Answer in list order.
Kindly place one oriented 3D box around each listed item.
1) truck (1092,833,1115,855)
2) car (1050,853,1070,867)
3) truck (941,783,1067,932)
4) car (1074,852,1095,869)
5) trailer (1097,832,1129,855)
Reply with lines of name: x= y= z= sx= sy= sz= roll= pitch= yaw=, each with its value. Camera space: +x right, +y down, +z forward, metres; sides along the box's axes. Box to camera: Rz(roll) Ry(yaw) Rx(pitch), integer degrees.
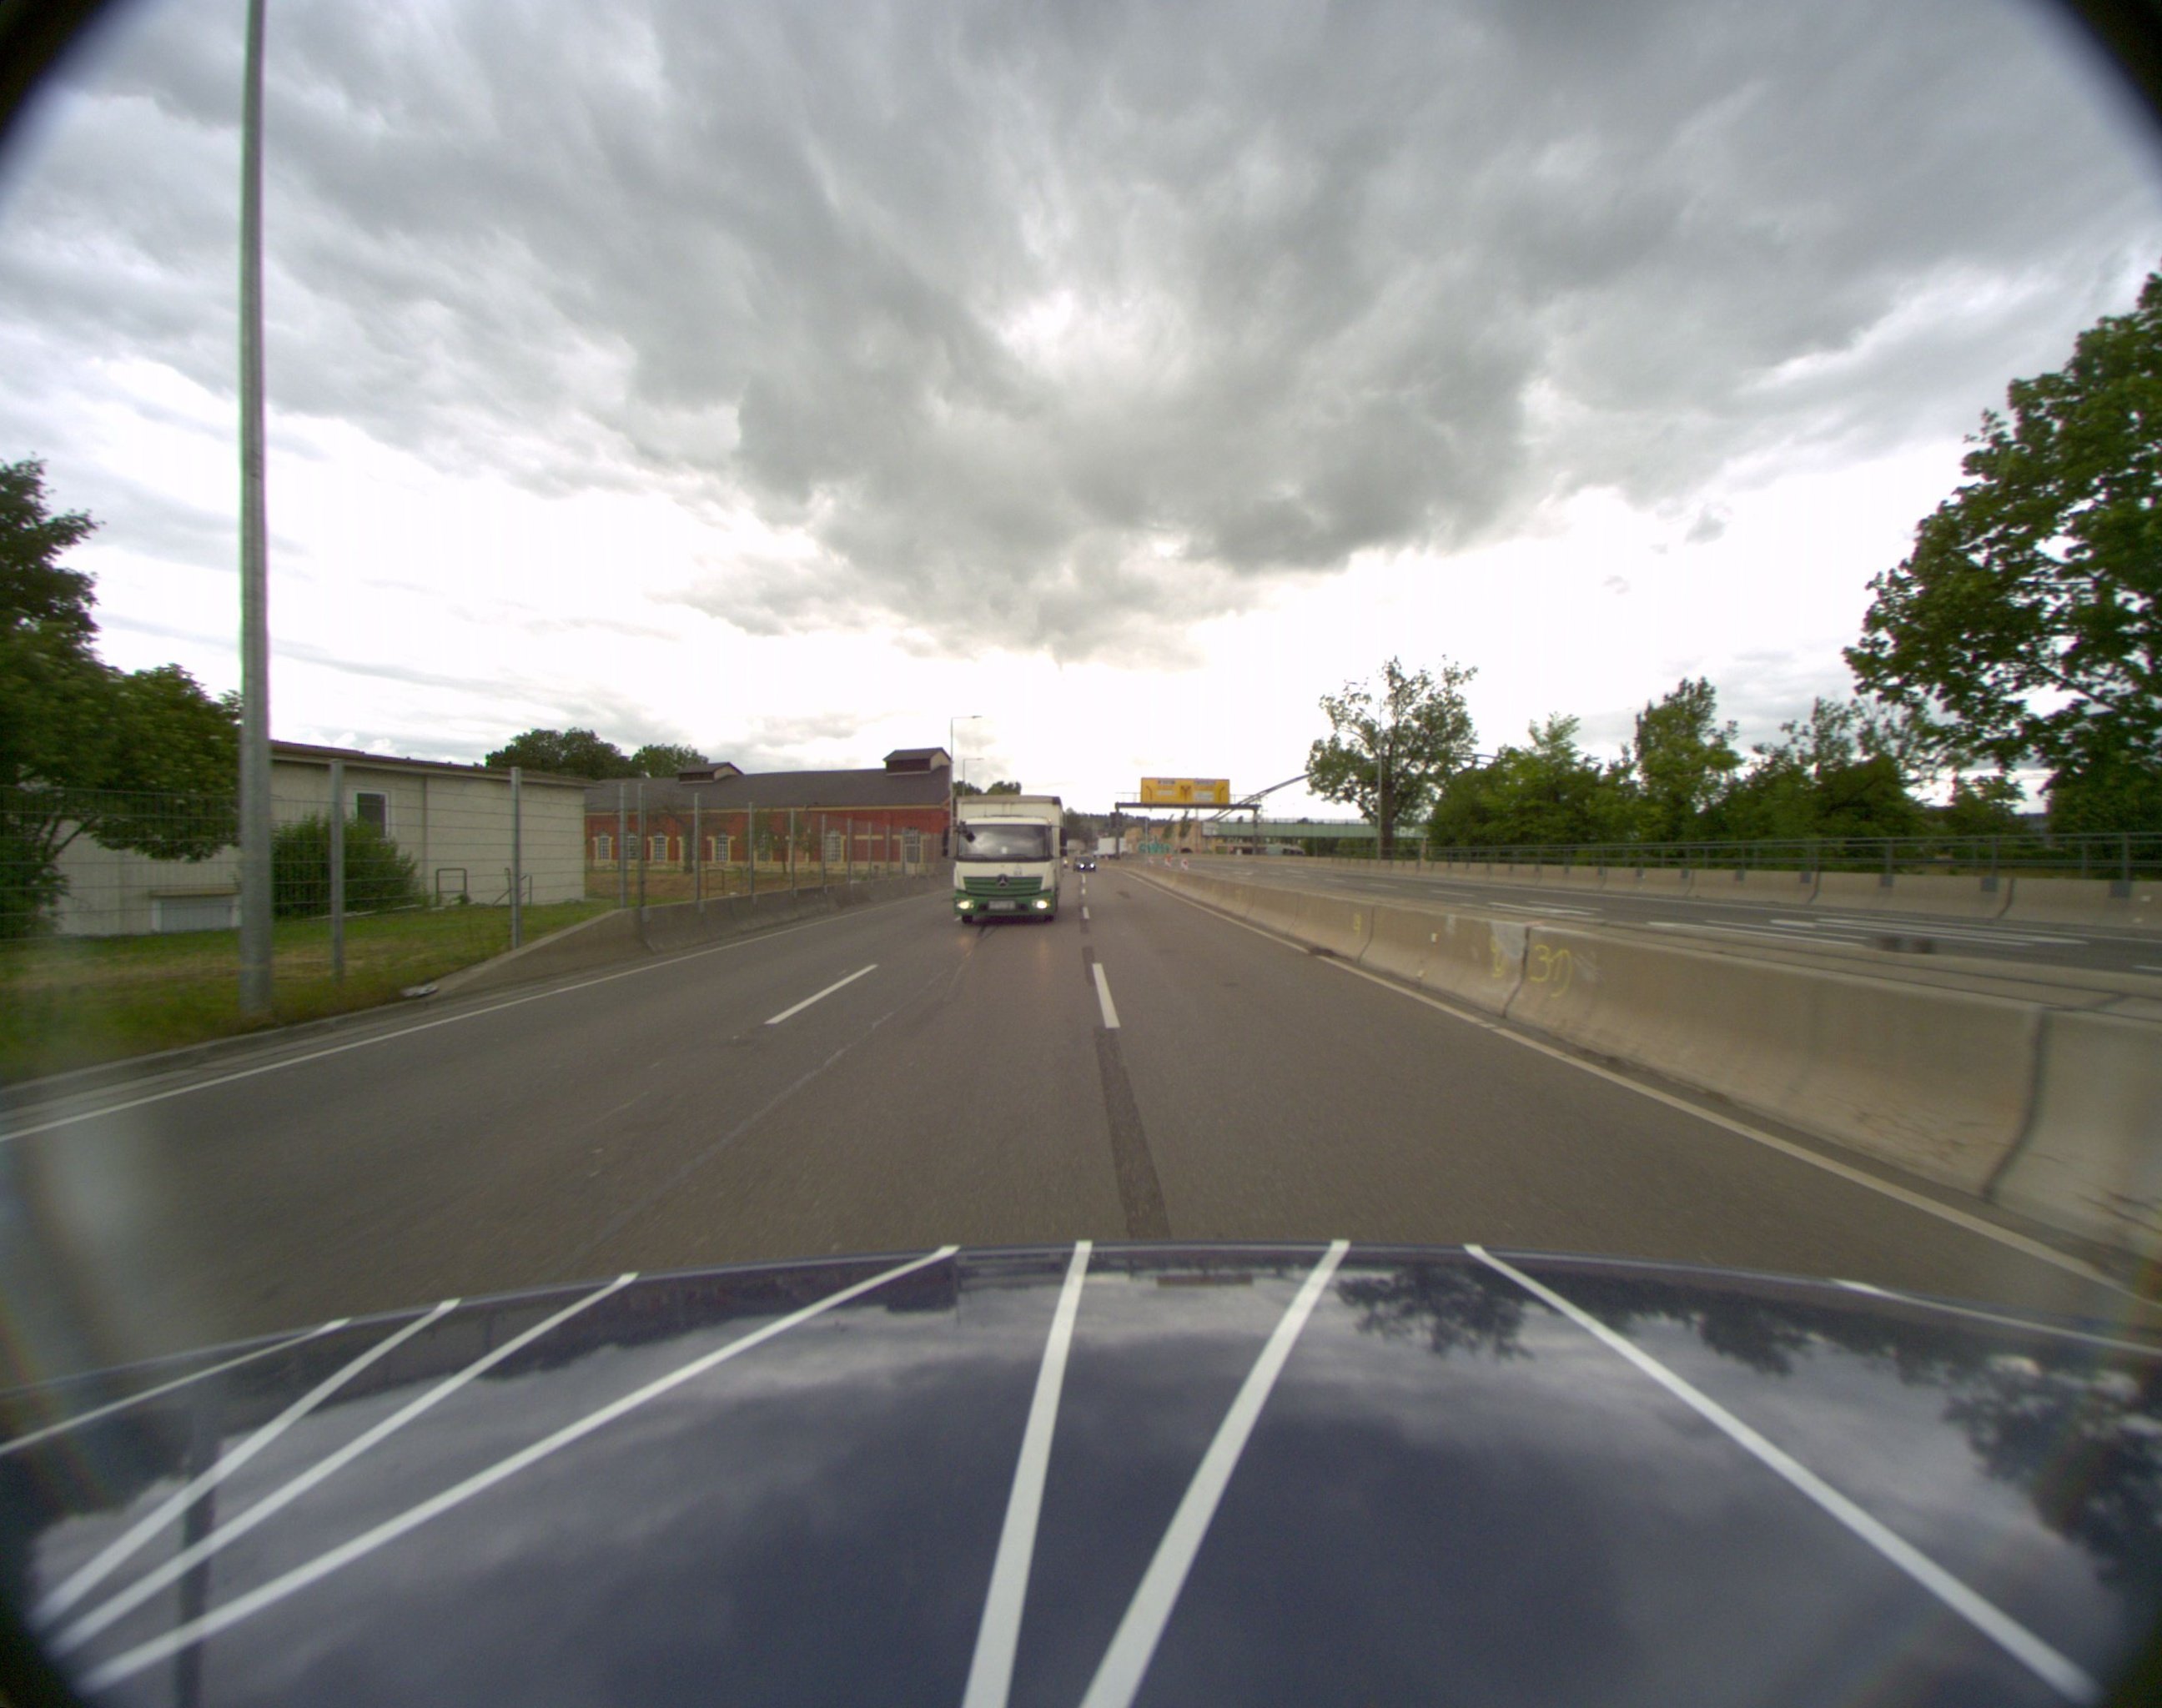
truck: x=3.279 y=-1.499 z=111.759 sx=2.282 sy=3.096 sz=2.981 roll=-3 pitch=1 yaw=-23
car: x=-2.395 y=0.635 z=85.567 sx=1.825 sy=1.440 sz=3.608 roll=-1 pitch=0 yaw=-9
truck: x=-1.798 y=0.076 z=20.741 sx=2.636 sy=3.220 sz=7.415 roll=-3 pitch=0 yaw=-1
car: x=0.327 y=0.590 z=67.934 sx=1.824 sy=1.440 sz=3.612 roll=-1 pitch=0 yaw=1
trailer: x=4.556 y=-1.454 z=108.774 sx=2.282 sy=3.120 sz=5.700 roll=-3 pitch=1 yaw=-23
